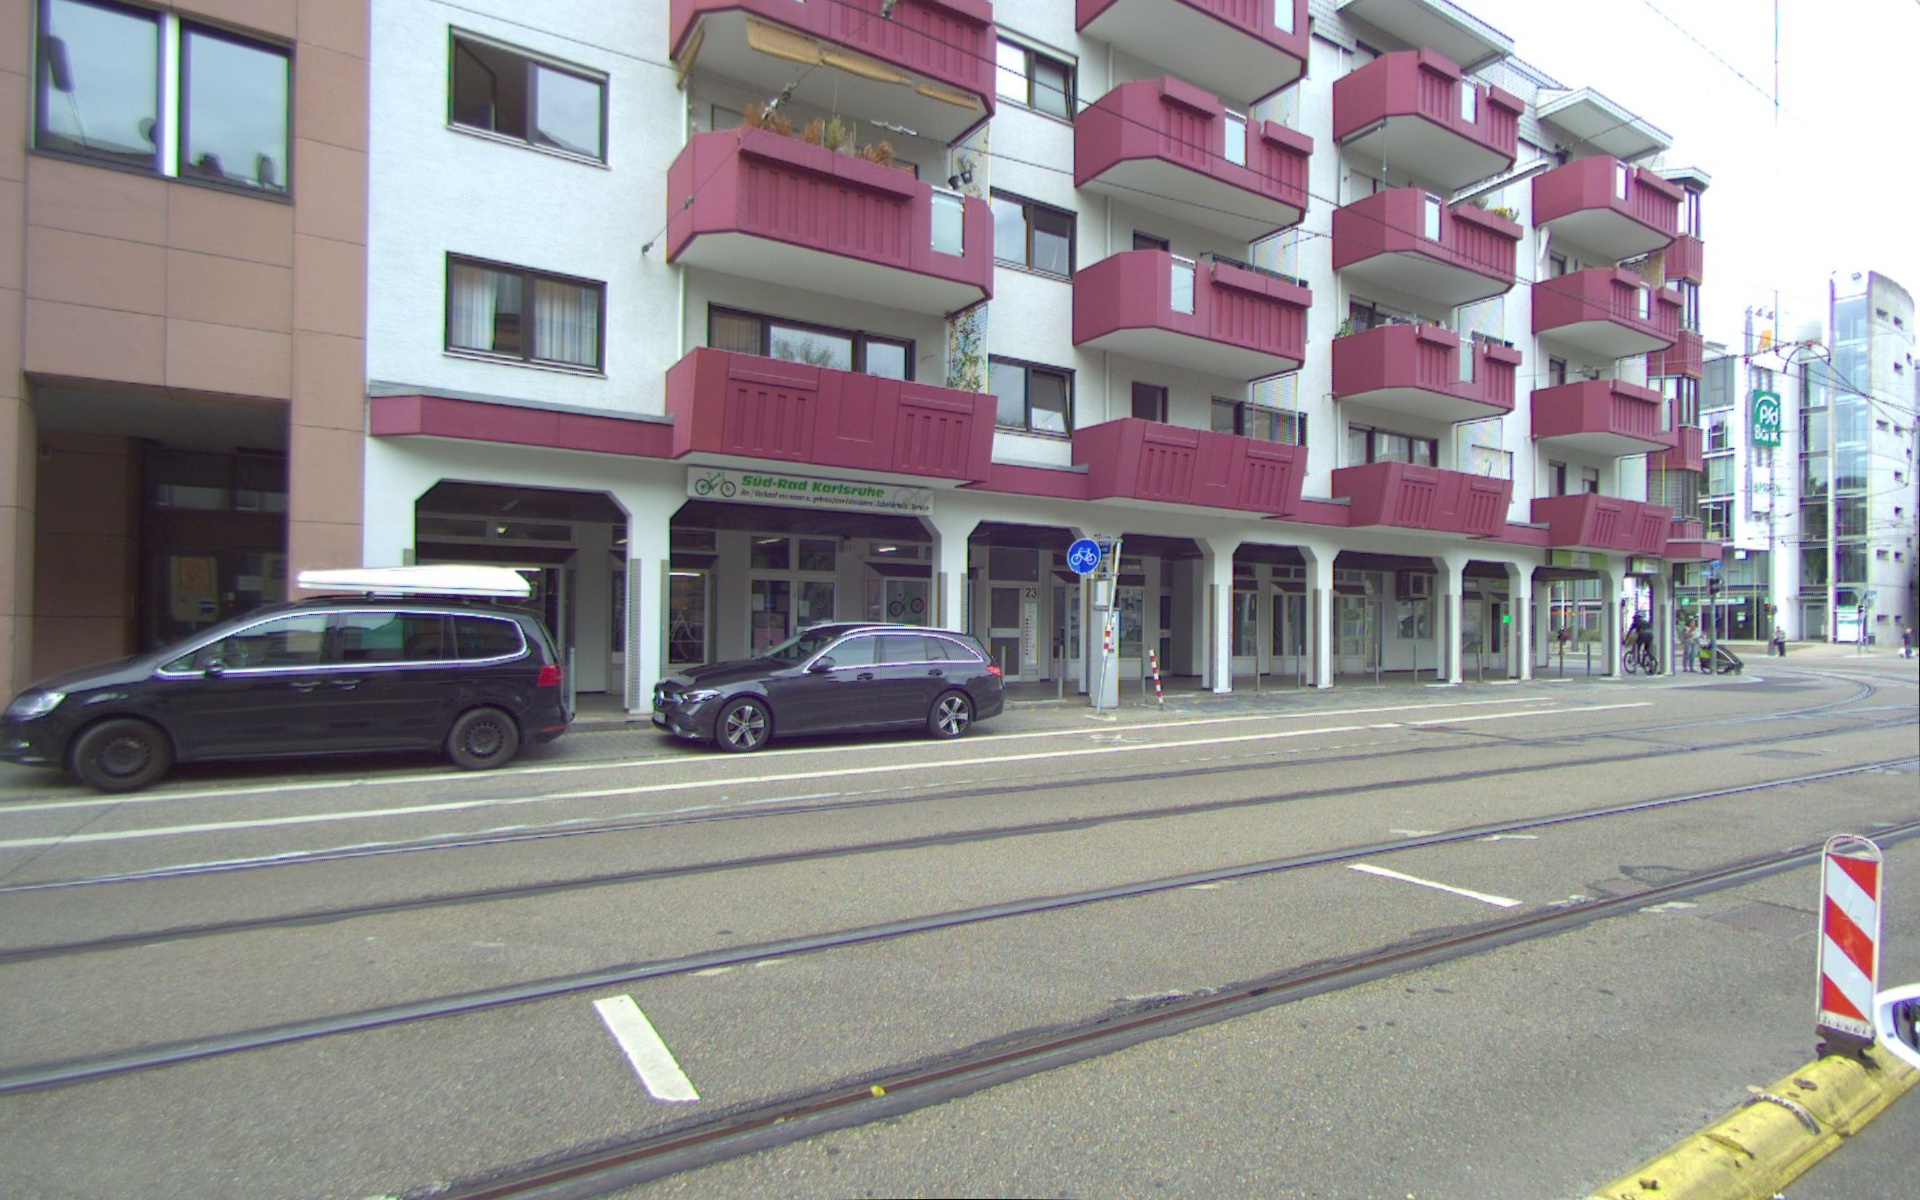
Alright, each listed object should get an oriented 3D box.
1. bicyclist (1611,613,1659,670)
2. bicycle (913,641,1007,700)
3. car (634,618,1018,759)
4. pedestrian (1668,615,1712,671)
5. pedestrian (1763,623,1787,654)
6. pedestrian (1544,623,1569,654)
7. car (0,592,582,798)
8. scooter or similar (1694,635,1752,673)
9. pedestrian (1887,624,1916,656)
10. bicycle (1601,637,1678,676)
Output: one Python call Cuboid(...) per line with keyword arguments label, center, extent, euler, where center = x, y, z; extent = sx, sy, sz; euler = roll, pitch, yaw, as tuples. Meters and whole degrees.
Cuboid(label="bicyclist", center=(20.149, 1.224, 30.003), extent=(0.737, 1.673, 1.056), euler=(0, -1, 3))
Cuboid(label="bicycle", center=(0.009, 1.197, 17.345), extent=(1.636, 0.966, 0.560), euler=(1, -1, -39))
Cuboid(label="car", center=(-1.652, 1.031, 13.051), extent=(4.645, 1.500, 1.745), euler=(1, 1, -32))
Cuboid(label="pedestrian", center=(23.420, 1.368, 32.221), extent=(0.803, 1.766, 0.942), euler=(1, -1, -33))
Cuboid(label="pedestrian", center=(49.428, 2.329, 60.921), extent=(0.754, 1.889, 0.833), euler=(1, -1, -17))
Cuboid(label="pedestrian", center=(32.962, 2.131, 55.504), extent=(0.753, 1.693, 0.935), euler=(1, -1, -17))
Cuboid(label="car", center=(-6.474, 0.820, 10.240), extent=(4.645, 1.669, 1.797), euler=(1, 1, -32))
Cuboid(label="scooter or similar", center=(23.905, 1.677, 31.483), extent=(0.936, 1.143, 1.189), euler=(1, 0, -32))
Cuboid(label="pedestrian", center=(55.838, 2.390, 59.595), extent=(0.889, 1.880, 0.987), euler=(1, -1, -23))
Cuboid(label="bicycle", center=(20.166, 1.656, 29.884), extent=(0.750, 1.101, 2.362), euler=(0, -1, 2))
